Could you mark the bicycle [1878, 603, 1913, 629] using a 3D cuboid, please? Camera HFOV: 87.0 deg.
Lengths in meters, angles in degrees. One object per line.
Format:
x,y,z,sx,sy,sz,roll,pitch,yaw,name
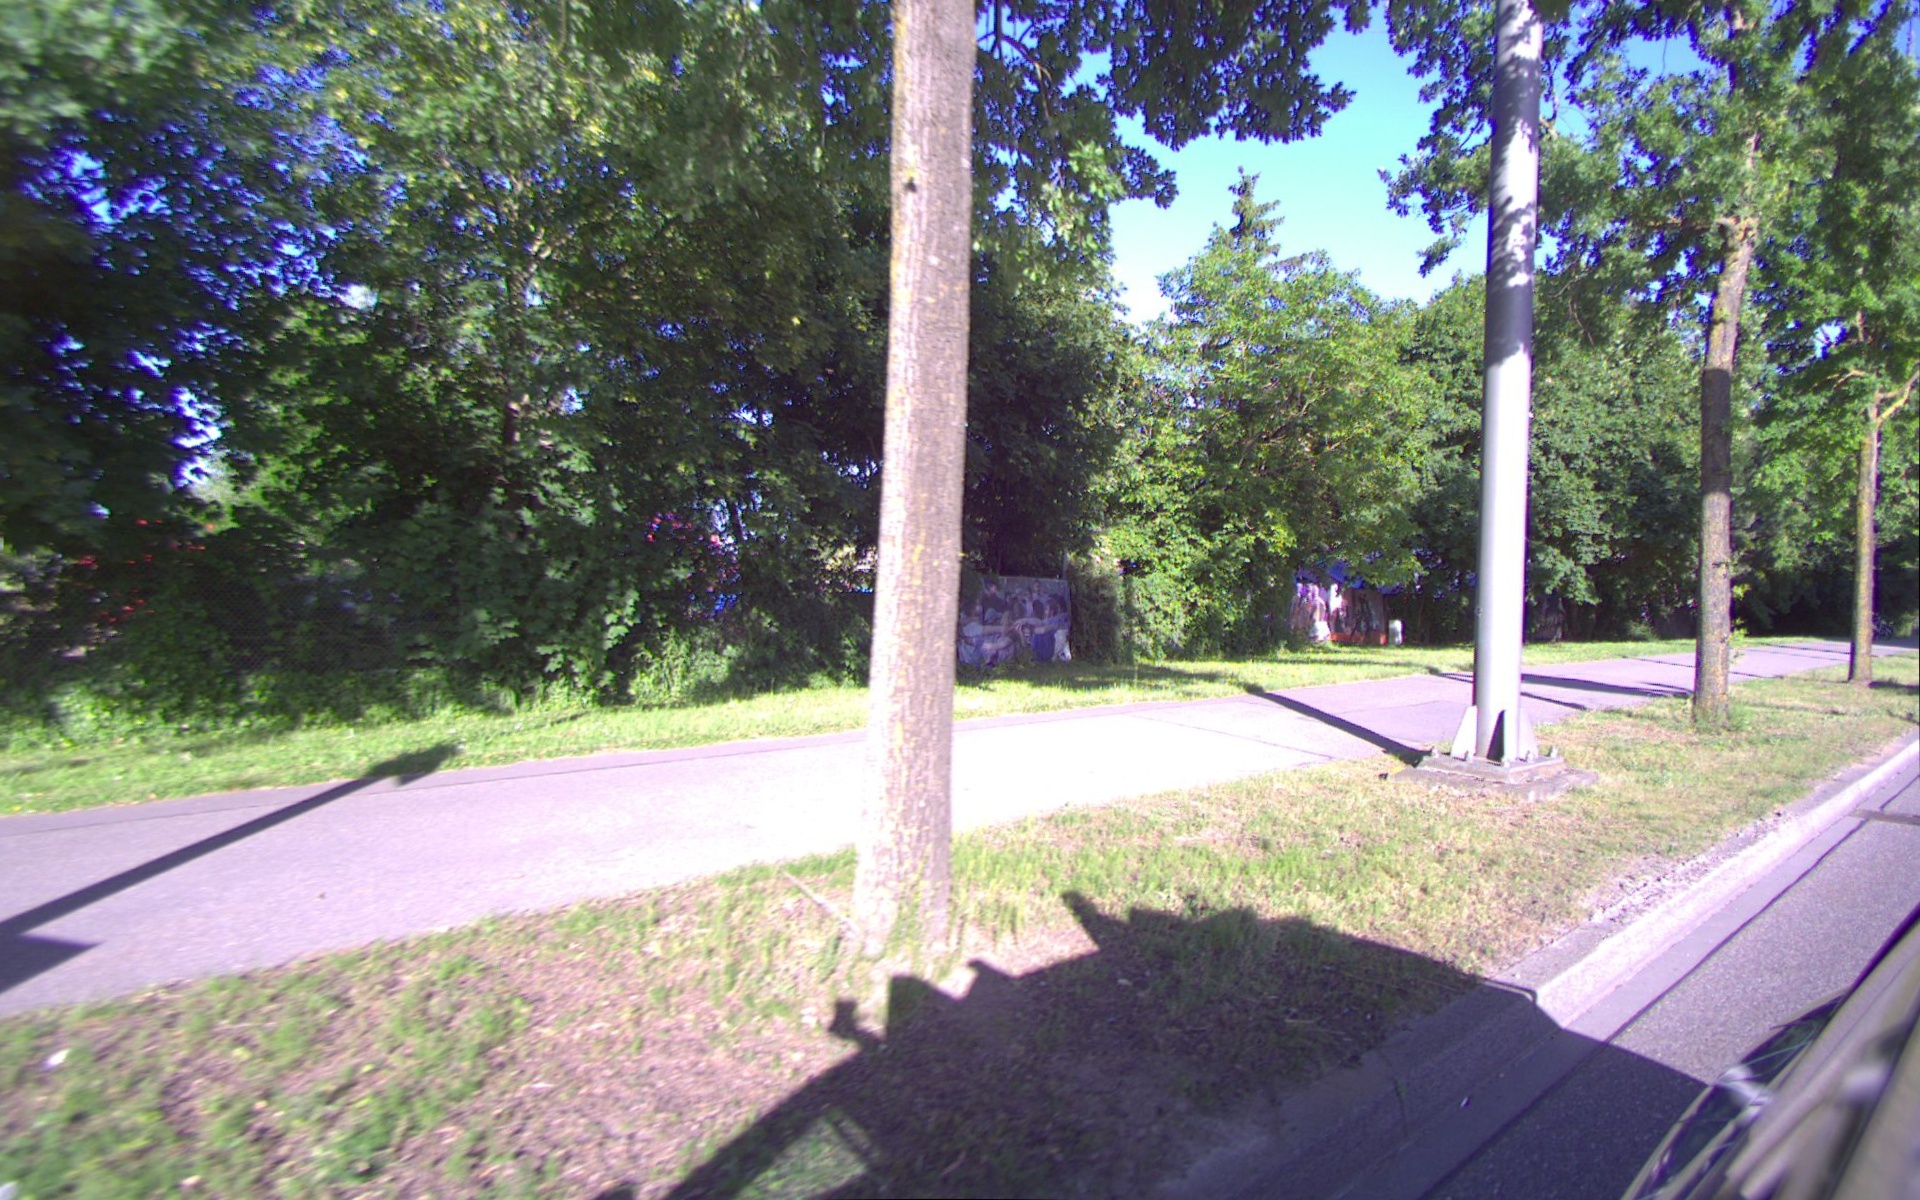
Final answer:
42.667,0.753,46.167,1.675,1.145,0.777,1,0,-33,bicycle
